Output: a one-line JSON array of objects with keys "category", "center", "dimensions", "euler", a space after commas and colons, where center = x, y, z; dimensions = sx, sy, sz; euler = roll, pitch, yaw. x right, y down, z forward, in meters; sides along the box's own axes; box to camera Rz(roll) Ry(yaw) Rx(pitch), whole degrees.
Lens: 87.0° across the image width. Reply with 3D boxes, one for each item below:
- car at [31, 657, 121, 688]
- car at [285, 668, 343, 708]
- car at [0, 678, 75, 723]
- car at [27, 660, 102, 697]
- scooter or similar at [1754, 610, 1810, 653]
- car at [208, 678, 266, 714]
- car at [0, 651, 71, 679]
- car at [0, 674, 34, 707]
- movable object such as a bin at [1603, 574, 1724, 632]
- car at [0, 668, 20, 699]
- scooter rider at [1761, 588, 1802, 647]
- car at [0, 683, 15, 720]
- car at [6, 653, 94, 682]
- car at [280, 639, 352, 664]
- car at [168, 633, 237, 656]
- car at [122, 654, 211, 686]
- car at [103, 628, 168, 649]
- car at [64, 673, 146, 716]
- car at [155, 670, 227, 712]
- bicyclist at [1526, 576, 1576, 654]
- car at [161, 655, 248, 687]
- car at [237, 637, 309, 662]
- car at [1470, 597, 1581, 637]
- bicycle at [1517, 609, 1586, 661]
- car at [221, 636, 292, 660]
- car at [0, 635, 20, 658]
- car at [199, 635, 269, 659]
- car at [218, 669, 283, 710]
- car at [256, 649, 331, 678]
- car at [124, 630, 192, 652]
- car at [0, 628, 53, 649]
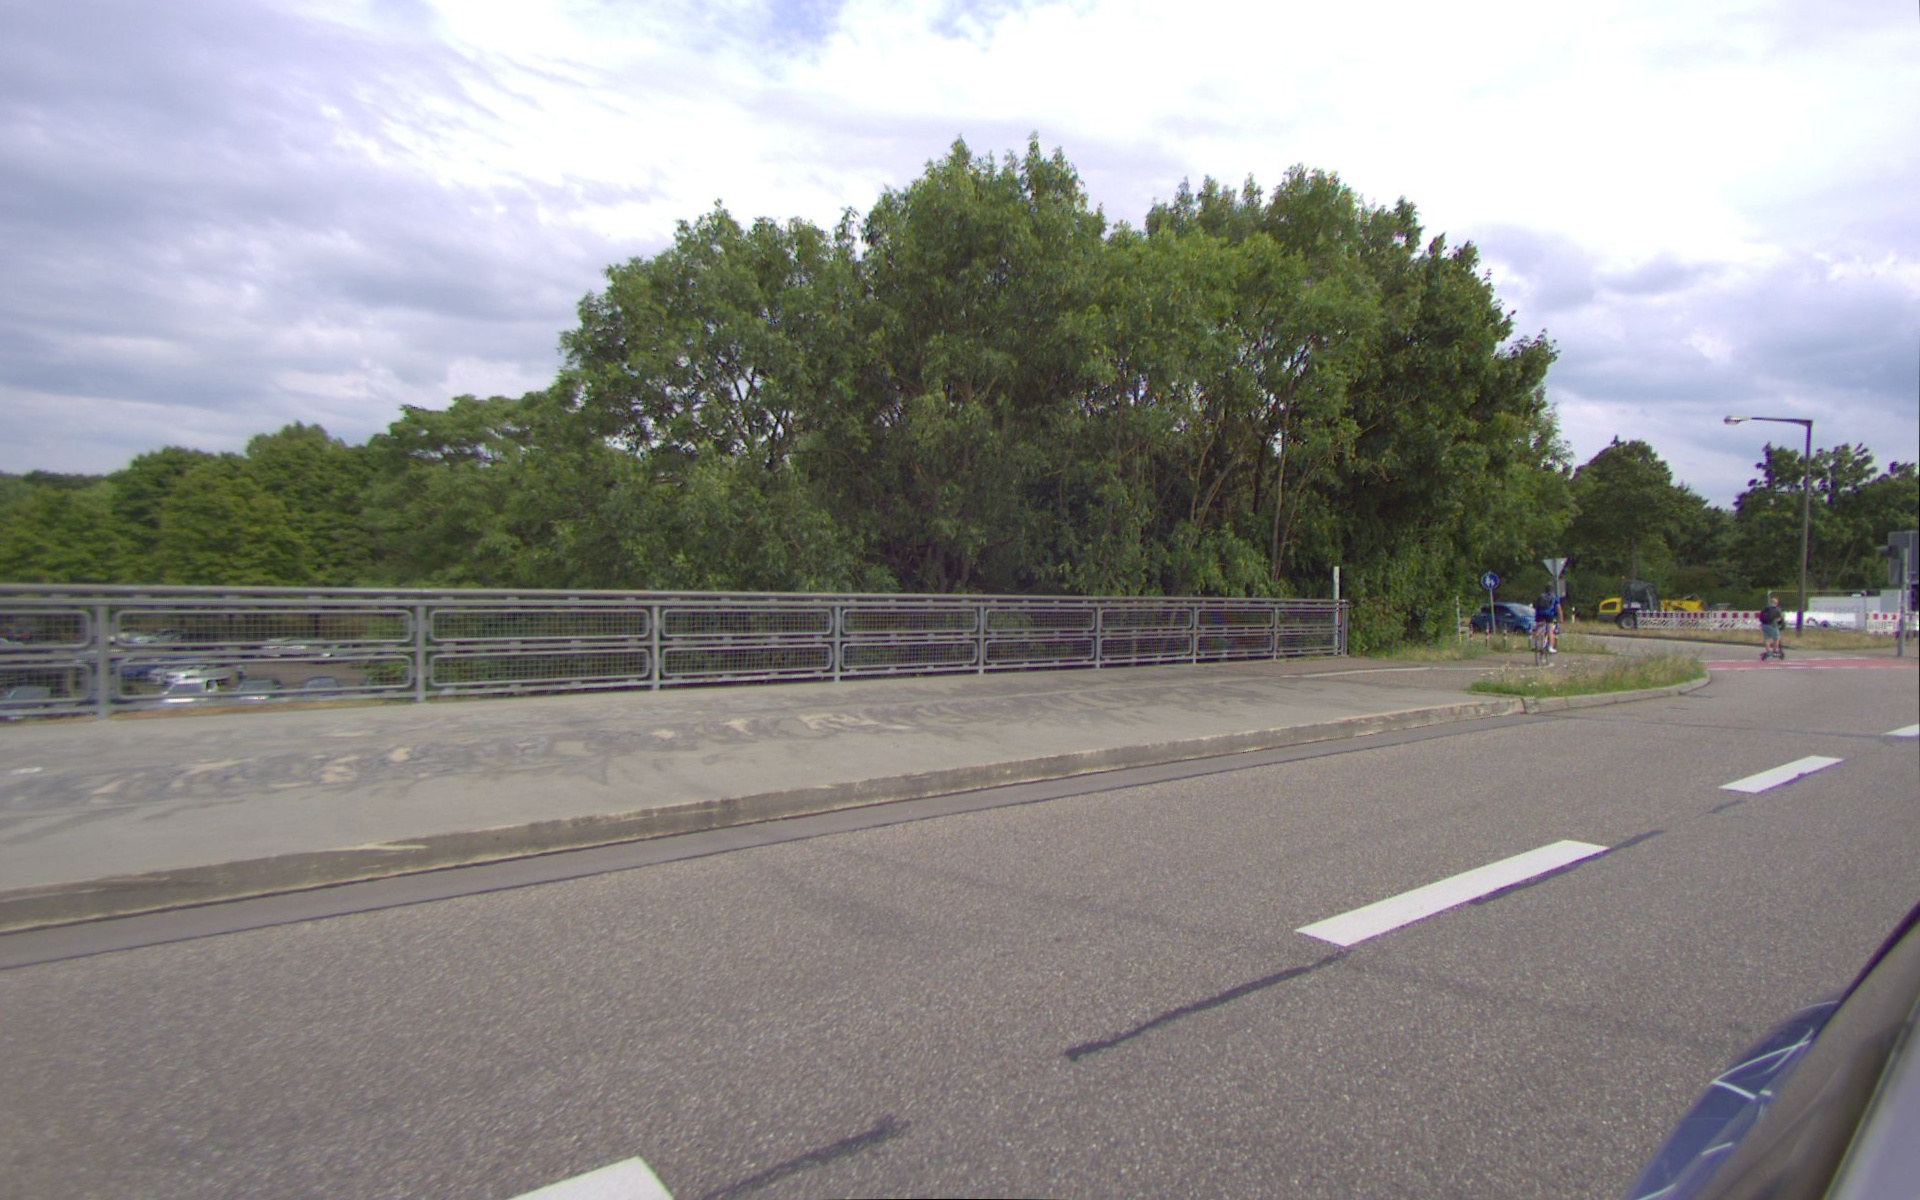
[{"category": "car", "center": [-57.180, 4.661, 65.517], "dimensions": [1.984, 1.594, 3.956], "euler": [1, 0, 31]}, {"category": "car", "center": [-32.964, 4.462, 51.748], "dimensions": [1.958, 1.594, 4.007], "euler": [0, 0, -25]}, {"category": "car", "center": [-42.436, 4.551, 46.194], "dimensions": [1.958, 1.594, 4.007], "euler": [0, 0, -25]}, {"category": "car", "center": [-48.244, 4.215, 54.614], "dimensions": [1.958, 1.594, 4.007], "euler": [0, 0, -25]}, {"category": "scooter or similar", "center": [24.284, 0.933, 29.918], "dimensions": [1.179, 1.240, 0.590], "euler": [1, 0, -4]}, {"category": "car", "center": [-41.560, 5.486, 58.260], "dimensions": [1.958, 1.594, 4.007], "euler": [0, 0, -25]}, {"category": "car", "center": [-62.863, 4.362, 68.270], "dimensions": [1.984, 1.594, 3.956], "euler": [1, 0, 31]}, {"category": "car", "center": [-52.968, 4.956, 54.705], "dimensions": [1.984, 1.594, 3.956], "euler": [1, 0, 31]}, {"category": "movable object such as a bin", "center": [34.851, 0.098, 50.253], "dimensions": [2.061, 2.723, 4.518], "euler": [0, 1, -33]}, {"category": "car", "center": [-55.547, 4.788, 56.653], "dimensions": [1.984, 1.594, 3.956], "euler": [1, 0, 31]}, {"category": "scooter rider", "center": [24.275, 0.519, 29.919], "dimensions": [0.729, 1.712, 0.590], "euler": [1, 0, -5]}, {"category": "car", "center": [-45.084, 4.759, 45.998], "dimensions": [1.958, 1.594, 4.007], "euler": [0, 0, -25]}, {"category": "car", "center": [-59.944, 4.414, 66.731], "dimensions": [1.984, 1.594, 3.956], "euler": [1, 0, 31]}, {"category": "car", "center": [-46.835, 3.731, 73.679], "dimensions": [1.983, 1.594, 3.957], "euler": [1, 0, 30]}, {"category": "car", "center": [-60.289, 3.494, 80.592], "dimensions": [1.983, 1.594, 3.957], "euler": [1, 0, 30]}, {"category": "car", "center": [-48.015, 4.203, 61.358], "dimensions": [1.967, 1.594, 3.990], "euler": [1, 0, 9]}, {"category": "car", "center": [-70.676, 3.301, 86.792], "dimensions": [1.983, 1.594, 3.957], "euler": [1, 0, 30]}, {"category": "car", "center": [-40.281, 4.422, 47.784], "dimensions": [1.958, 1.594, 4.007], "euler": [0, 0, -25]}, {"category": "car", "center": [-37.770, 4.427, 49.803], "dimensions": [1.958, 1.594, 4.007], "euler": [0, 0, -25]}, {"category": "bicyclist", "center": [13.077, 0.332, 22.380], "dimensions": [0.790, 1.680, 0.666], "euler": [4, -2, -38]}, {"category": "car", "center": [-45.349, 4.239, 60.862], "dimensions": [1.967, 1.594, 3.990], "euler": [1, 0, 9]}, {"category": "car", "center": [-51.110, 3.658, 75.356], "dimensions": [1.983, 1.594, 3.957], "euler": [1, 0, 30]}, {"category": "car", "center": [24.031, 0.691, 43.147], "dimensions": [1.840, 1.537, 4.008], "euler": [1, 1, -15]}, {"category": "bicycle", "center": [13.147, 0.783, 22.461], "dimensions": [1.939, 1.034, 0.578], "euler": [4, 2, -39]}, {"category": "car", "center": [-53.362, 3.620, 76.792], "dimensions": [1.983, 1.594, 3.957], "euler": [1, 0, 30]}, {"category": "car", "center": [-71.701, 3.480, 74.014], "dimensions": [1.984, 1.594, 3.956], "euler": [1, 0, 31]}, {"category": "car", "center": [-55.850, 3.576, 77.889], "dimensions": [1.983, 1.594, 3.957], "euler": [1, 0, 30]}, {"category": "car", "center": [-35.444, 4.448, 50.671], "dimensions": [1.958, 1.594, 4.007], "euler": [0, 0, -25]}, {"category": "car", "center": [-43.994, 4.181, 66.905], "dimensions": [1.967, 1.594, 3.990], "euler": [1, 0, 9]}, {"category": "car", "center": [-66.453, 3.383, 83.897], "dimensions": [1.982, 1.594, 3.959], "euler": [1, 0, 29]}, {"category": "car", "center": [-79.213, 3.258, 85.155], "dimensions": [1.984, 1.594, 3.956], "euler": [1, 0, 31]}]
